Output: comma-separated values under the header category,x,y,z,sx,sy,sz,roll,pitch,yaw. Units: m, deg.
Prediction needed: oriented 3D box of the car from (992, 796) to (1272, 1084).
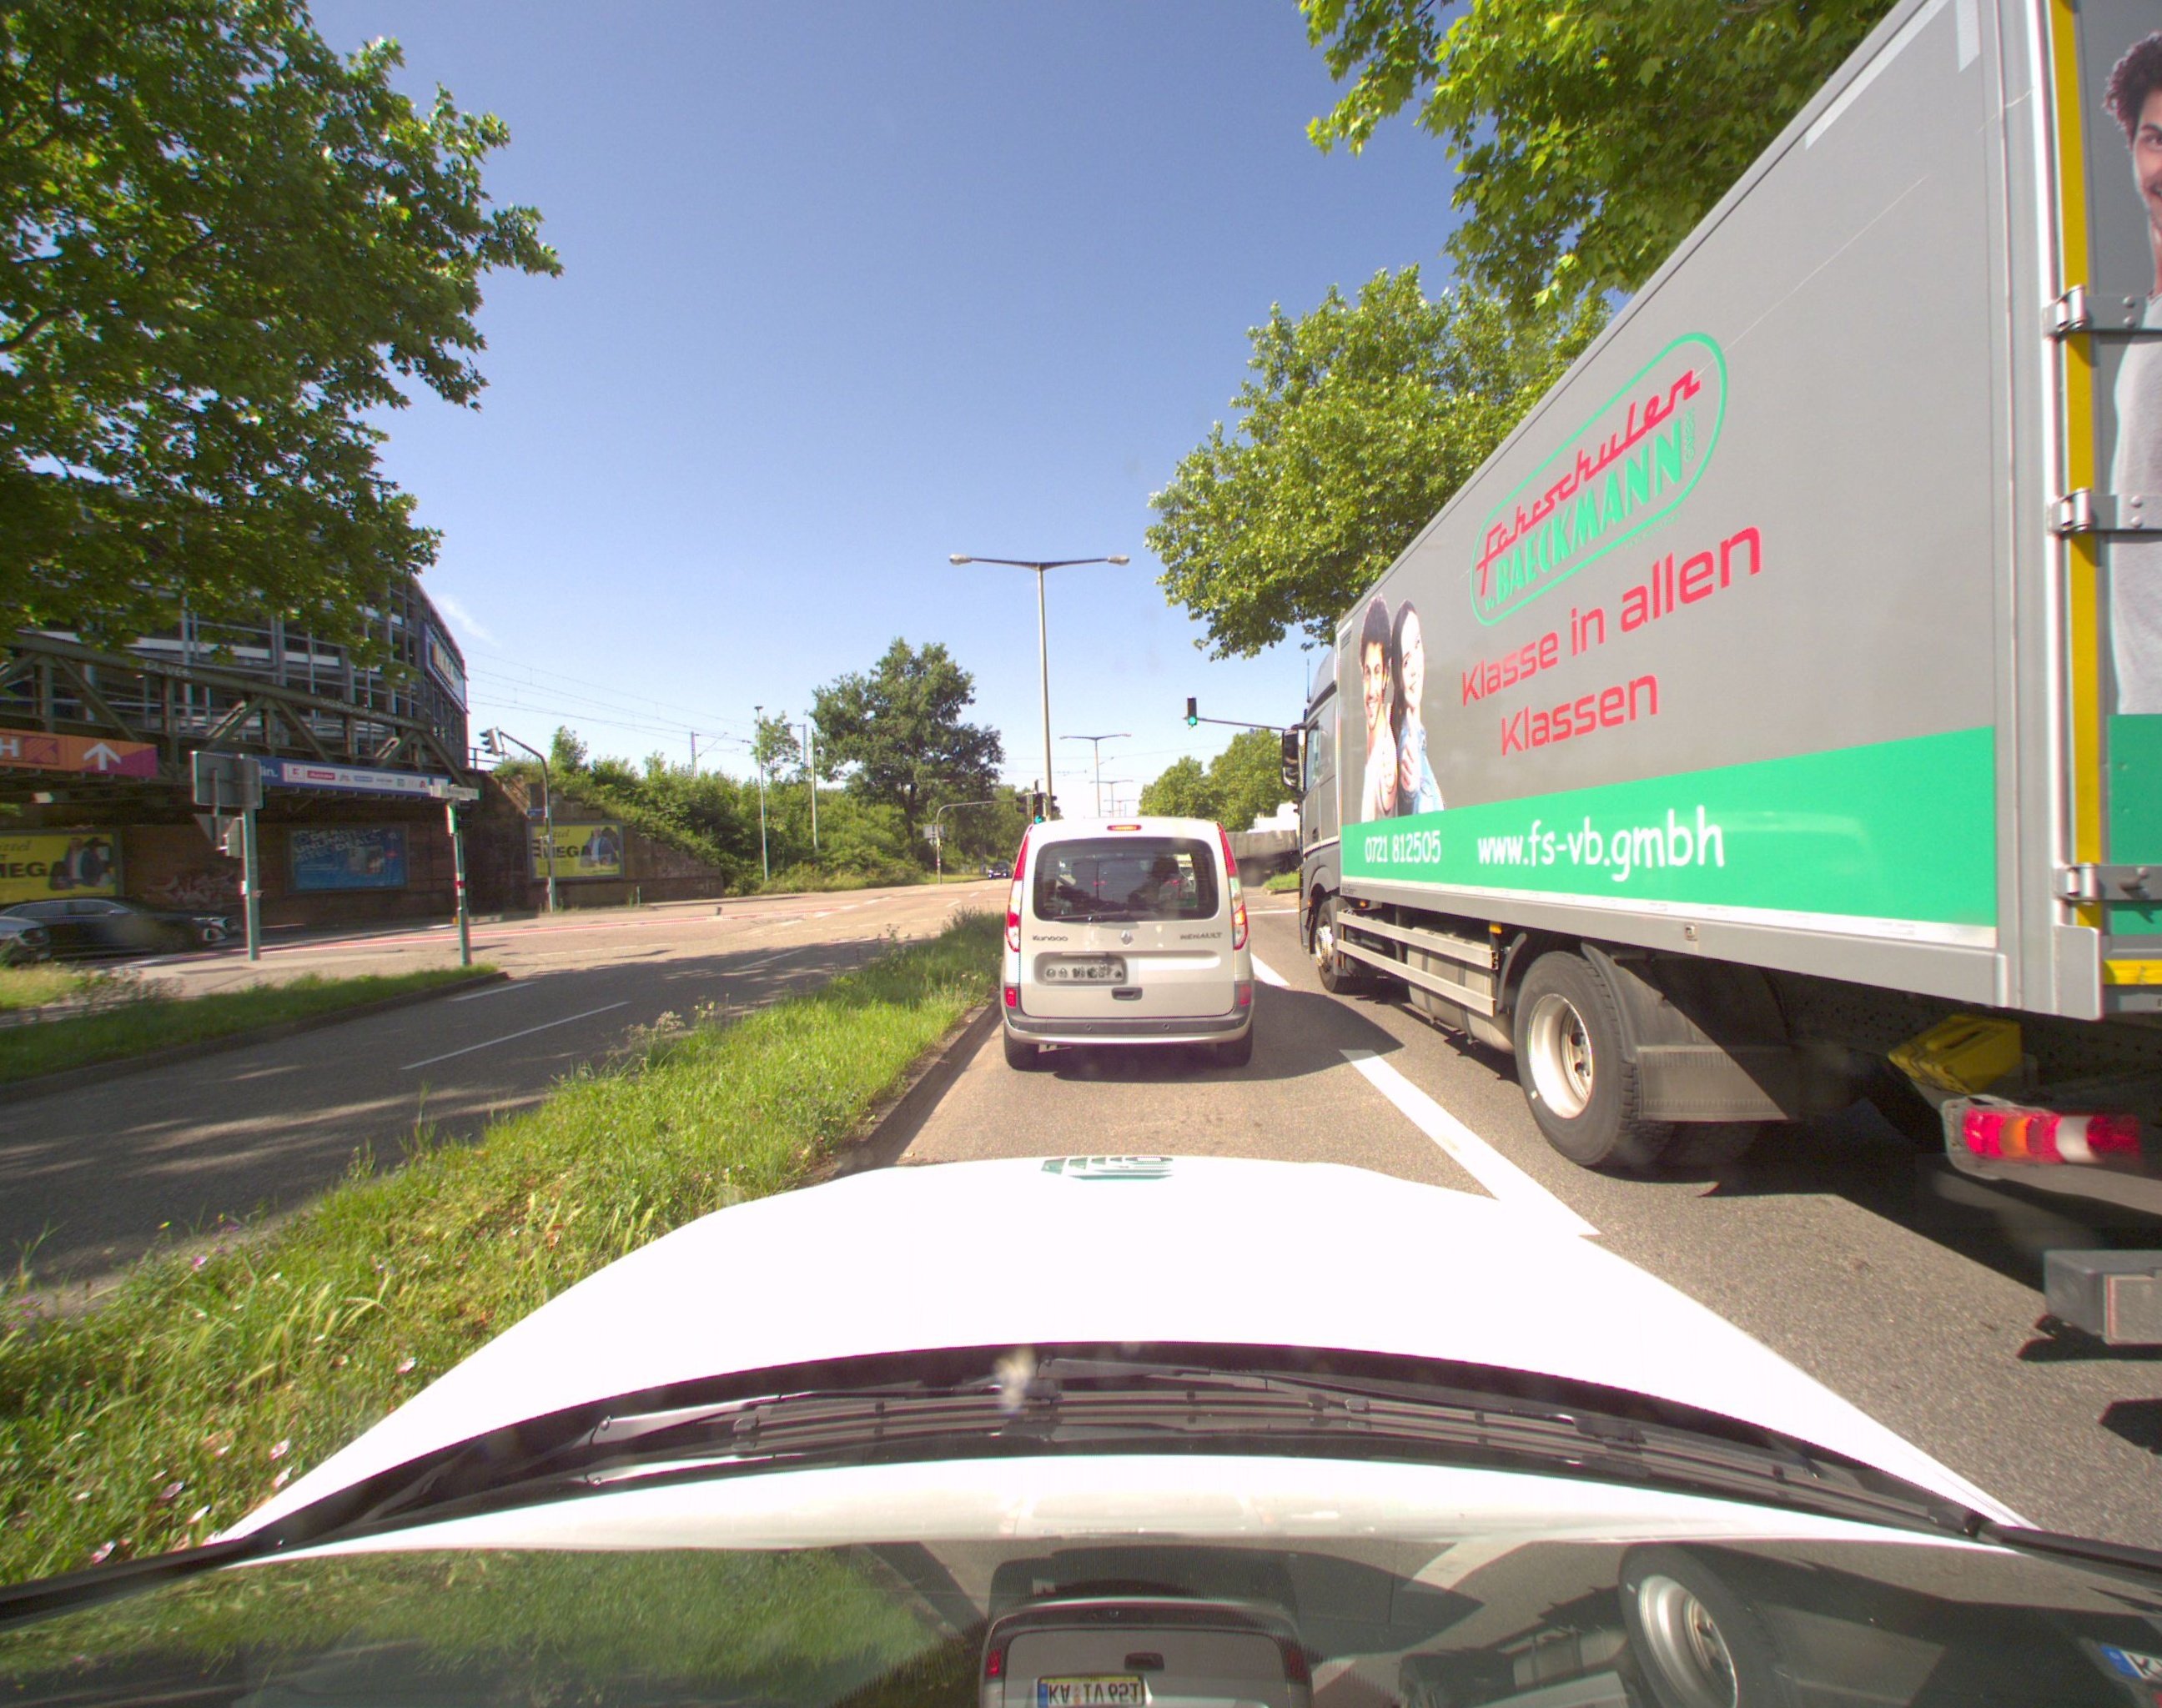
category,x,y,z,sx,sy,sz,roll,pitch,yaw
car,0.390,0.566,7.215,1.779,1.838,4.001,0,-1,2

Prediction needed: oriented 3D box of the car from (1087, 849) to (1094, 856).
category,x,y,z,sx,sy,sz,roll,pitch,yaw
car,2.780,-0.381,250.366,1.880,2.014,4.004,0,-1,4

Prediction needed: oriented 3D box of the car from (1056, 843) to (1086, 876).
category,x,y,z,sx,sy,sz,roll,pitch,yaw
car,-0.833,0.482,69.808,1.984,2.607,5.140,-3,-1,5

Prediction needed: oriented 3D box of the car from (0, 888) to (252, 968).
category,x,y,z,sx,sy,sz,roll,pitch,yaw
car,-25.757,1.926,22.183,4.015,1.646,1.885,-4,1,-32

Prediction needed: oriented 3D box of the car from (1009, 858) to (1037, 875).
category,x,y,z,sx,sy,sz,roll,pitch,yaw
car,-5.560,1.207,78.972,1.984,1.540,4.241,-3,-1,5

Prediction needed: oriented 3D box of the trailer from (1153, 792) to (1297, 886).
category,x,y,z,sx,sy,sz,roll,pitch,yaw
trailer,7.141,-0.544,37.866,2.873,3.622,12.761,-1,-1,27

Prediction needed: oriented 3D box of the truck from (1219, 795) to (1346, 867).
category,x,y,z,sx,sy,sz,roll,pitch,yaw
truck,11.063,-1.146,44.367,7.224,3.643,2.886,0,-1,-38

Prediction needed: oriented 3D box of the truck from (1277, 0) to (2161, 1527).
category,x,y,z,sx,sy,sz,roll,pitch,yaw
truck,3.592,-0.575,5.974,2.717,3.889,8.732,-2,-1,4

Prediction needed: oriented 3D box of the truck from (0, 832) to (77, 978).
category,x,y,z,sx,sy,sz,roll,pitch,yaw
truck,-26.316,1.279,16.596,6.890,3.105,2.196,-4,1,-32

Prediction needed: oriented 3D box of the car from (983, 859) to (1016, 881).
category,x,y,z,sx,sy,sz,roll,pitch,yaw
car,-6.598,1.247,66.146,1.902,1.641,3.742,-3,-1,5
